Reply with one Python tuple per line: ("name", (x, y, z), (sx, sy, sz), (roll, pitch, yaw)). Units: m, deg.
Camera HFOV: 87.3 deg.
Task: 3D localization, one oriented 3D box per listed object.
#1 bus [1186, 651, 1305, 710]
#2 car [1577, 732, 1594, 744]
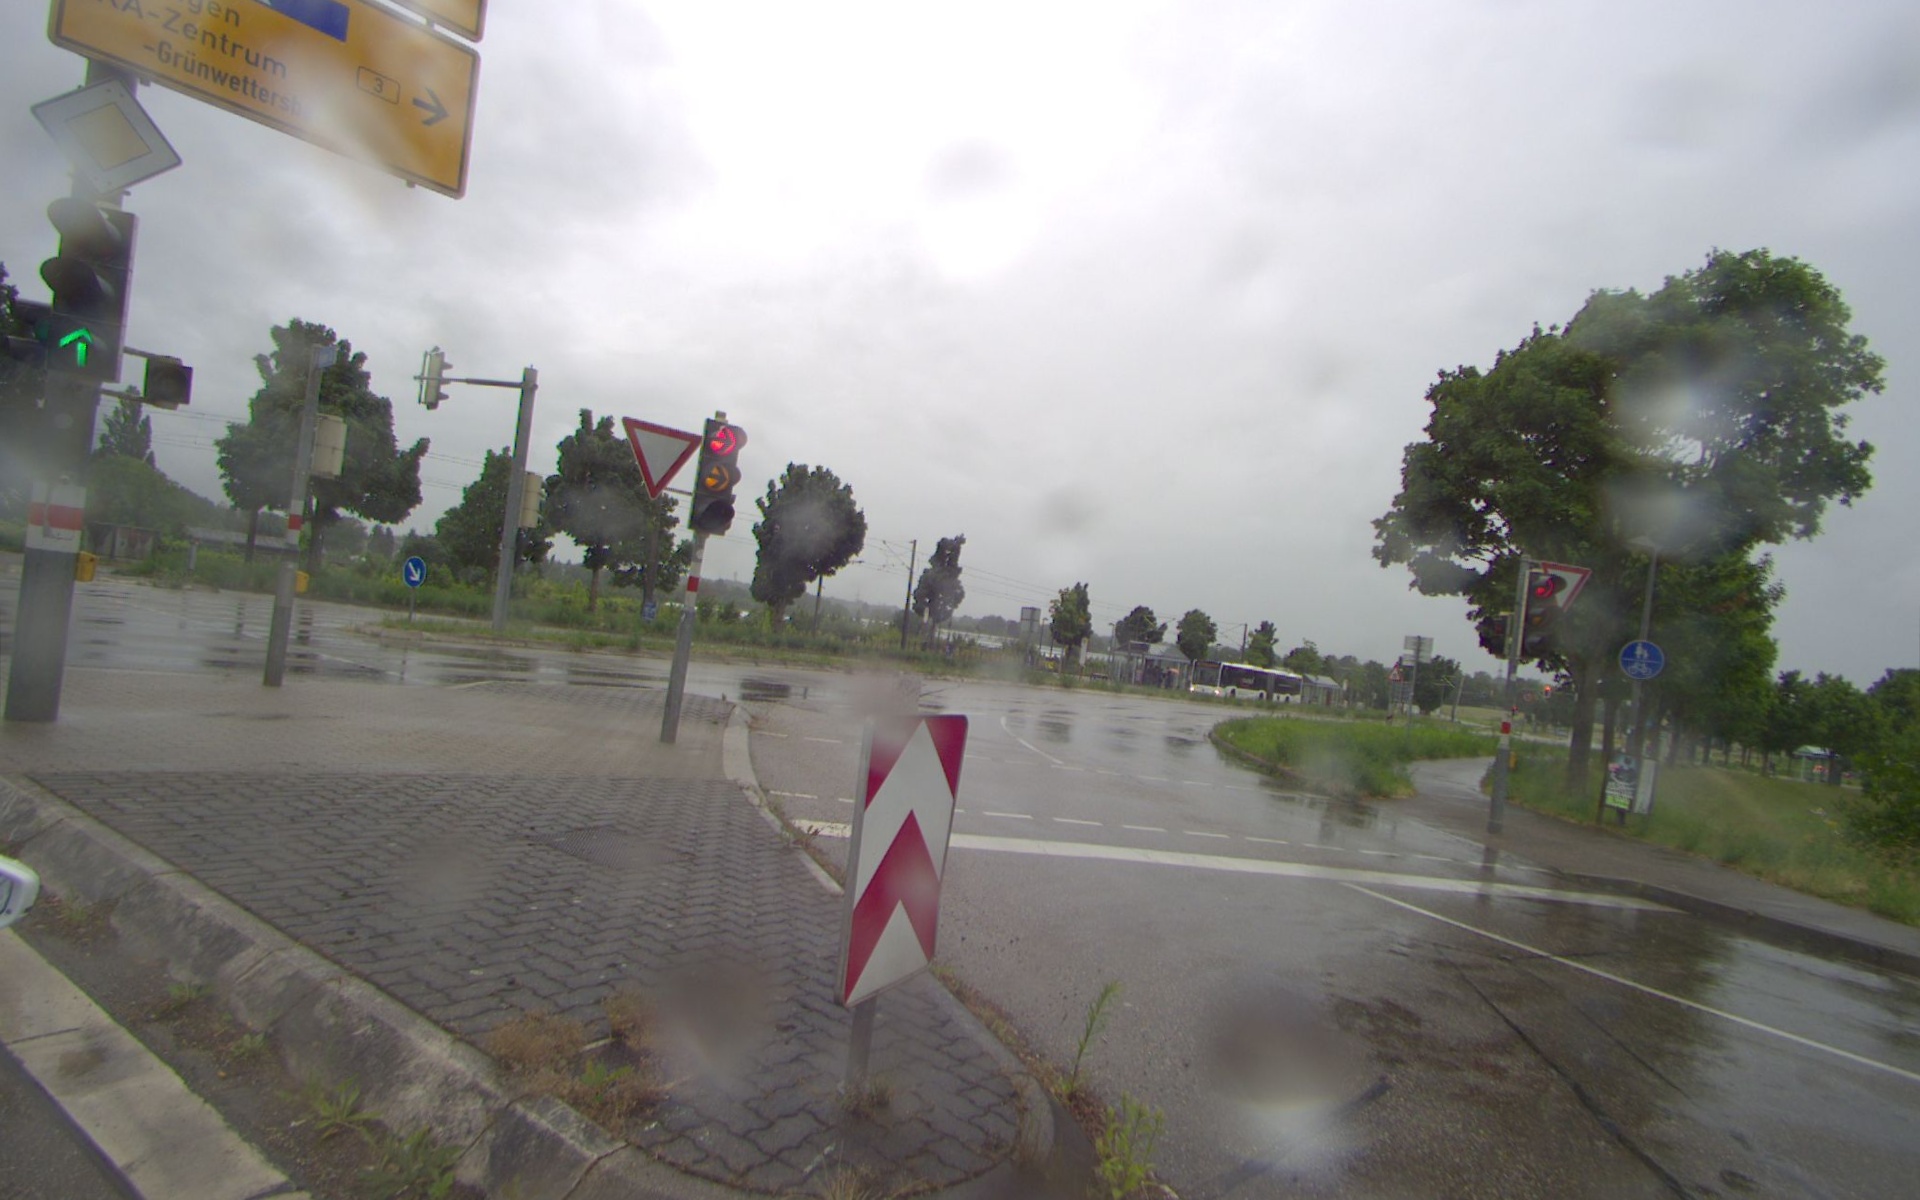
("bus", (24.294, 6.928, 84.257), (2.715, 3.828, 18.382), (7, -2, 38))
("car", (89.209, 19.663, 143.432), (1.850, 1.370, 4.042), (7, -1, 34))
